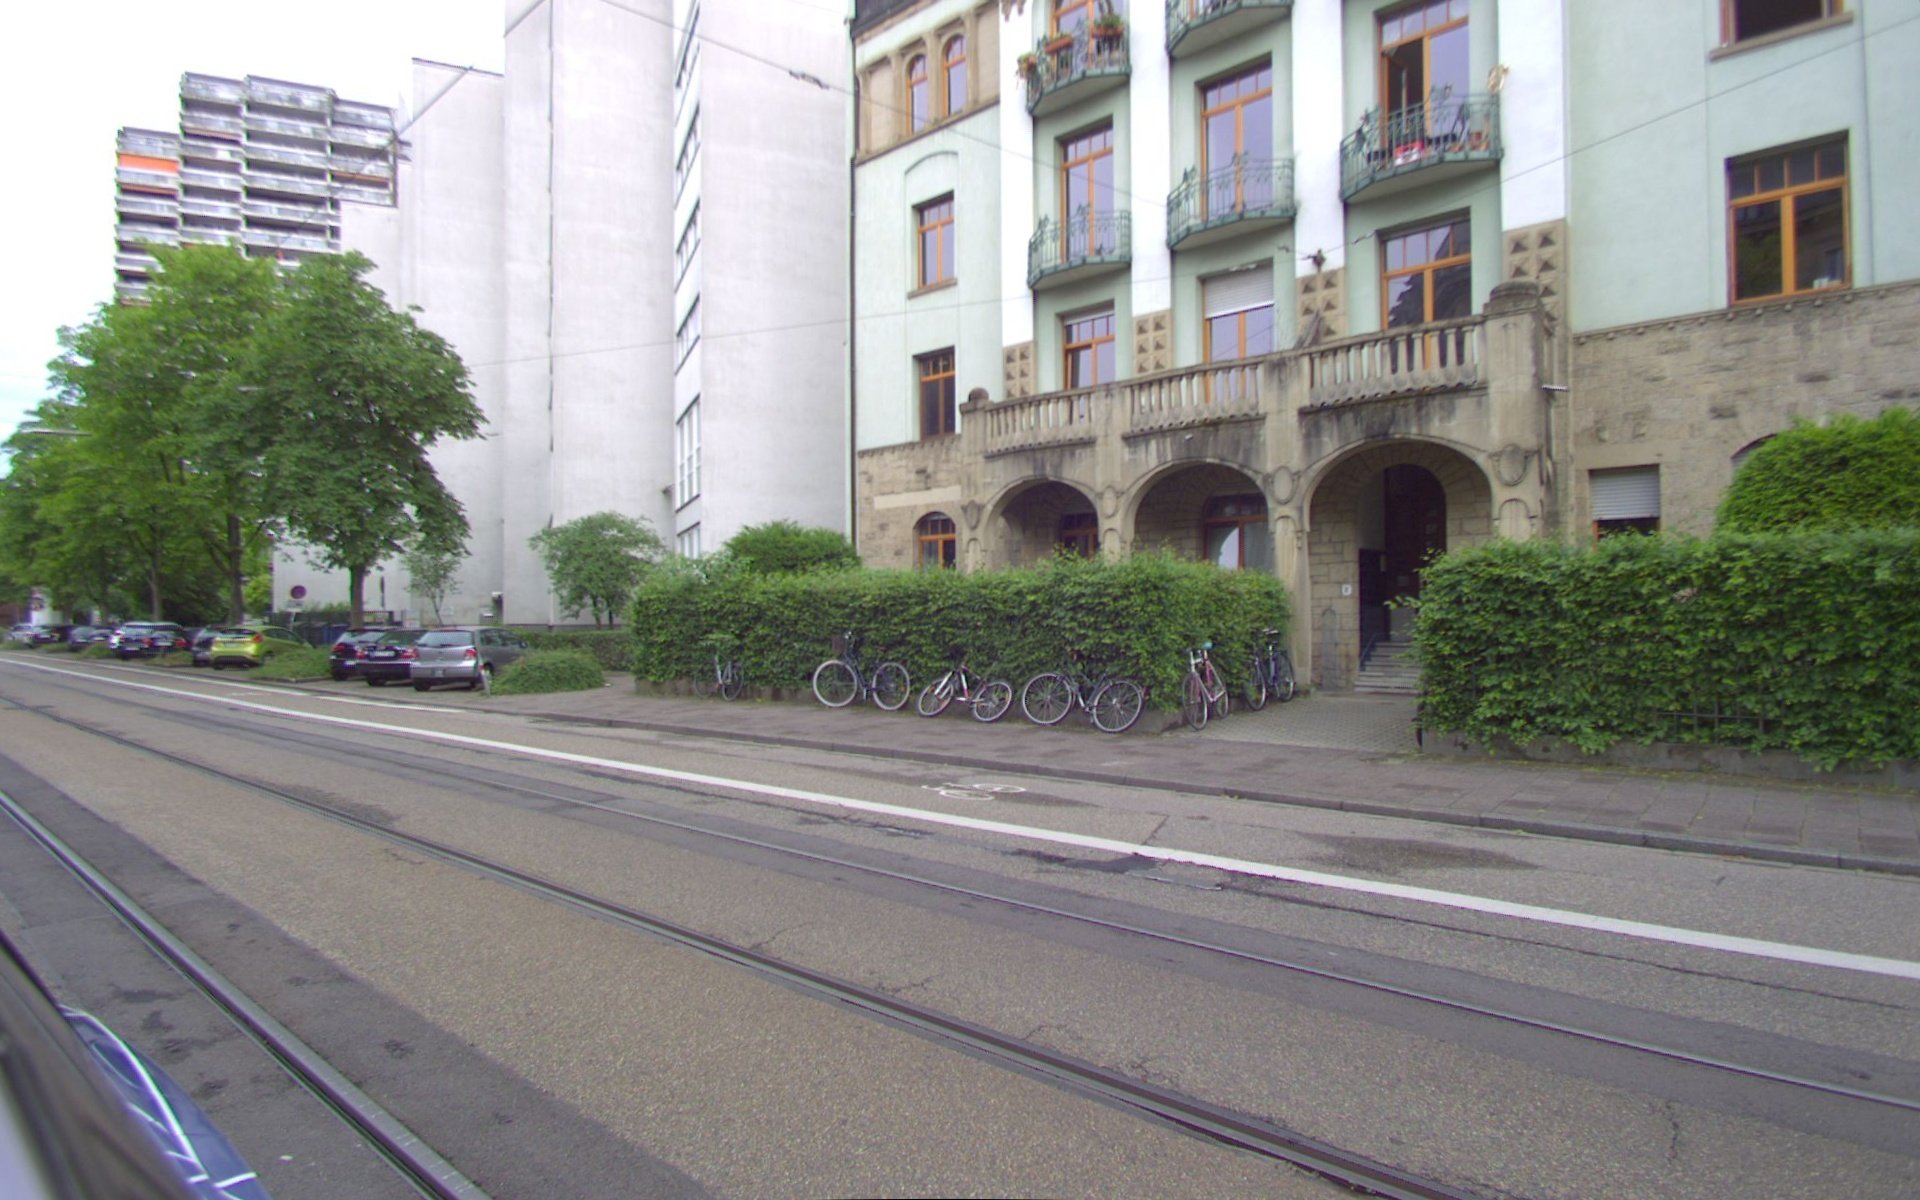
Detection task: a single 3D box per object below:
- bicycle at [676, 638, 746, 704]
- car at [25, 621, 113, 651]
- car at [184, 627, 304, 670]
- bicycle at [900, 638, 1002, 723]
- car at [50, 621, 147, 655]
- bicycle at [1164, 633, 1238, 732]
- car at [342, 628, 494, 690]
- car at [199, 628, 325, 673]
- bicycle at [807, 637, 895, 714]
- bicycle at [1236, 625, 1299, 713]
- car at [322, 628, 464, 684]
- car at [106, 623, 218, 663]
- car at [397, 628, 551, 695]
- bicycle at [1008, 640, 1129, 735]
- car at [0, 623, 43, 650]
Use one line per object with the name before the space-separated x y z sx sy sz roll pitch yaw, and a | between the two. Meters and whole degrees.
bicycle | -4.325 1.203 17.515 1.546 1.092 0.356 -2 -2 41
car | -50.928 2.031 57.946 1.670 1.632 4.002 0 -1 -3
car | -25.798 1.701 36.628 1.670 1.453 4.002 0 -1 -3
bicycle | -0.138 1.066 13.769 1.546 1.092 0.356 -2 -2 41
car | -43.980 1.926 51.761 1.670 1.632 4.002 0 -1 -3
bicycle | 2.941 0.978 12.305 0.300 1.091 1.190 -2 1 42
car | -13.611 1.439 25.677 1.672 1.413 3.998 0 -1 1
car | -23.644 1.674 34.455 1.670 1.405 4.002 0 -1 -3
bicycle | -1.651 1.110 15.200 1.546 1.092 0.356 -2 -2 41
bicycle | 4.200 0.922 13.791 0.300 1.091 1.190 -2 1 42
car | -15.609 1.493 28.121 1.672 1.413 3.998 0 -1 1
car | -33.474 1.773 42.607 1.670 1.632 4.002 0 -1 -3
car | -11.351 1.390 23.957 1.672 1.413 3.998 0 -1 1
bicycle | 1.312 1.041 12.439 1.546 1.092 0.356 -2 -2 41
car | -59.386 2.298 63.878 3.996 1.632 1.673 -1 -2 39
